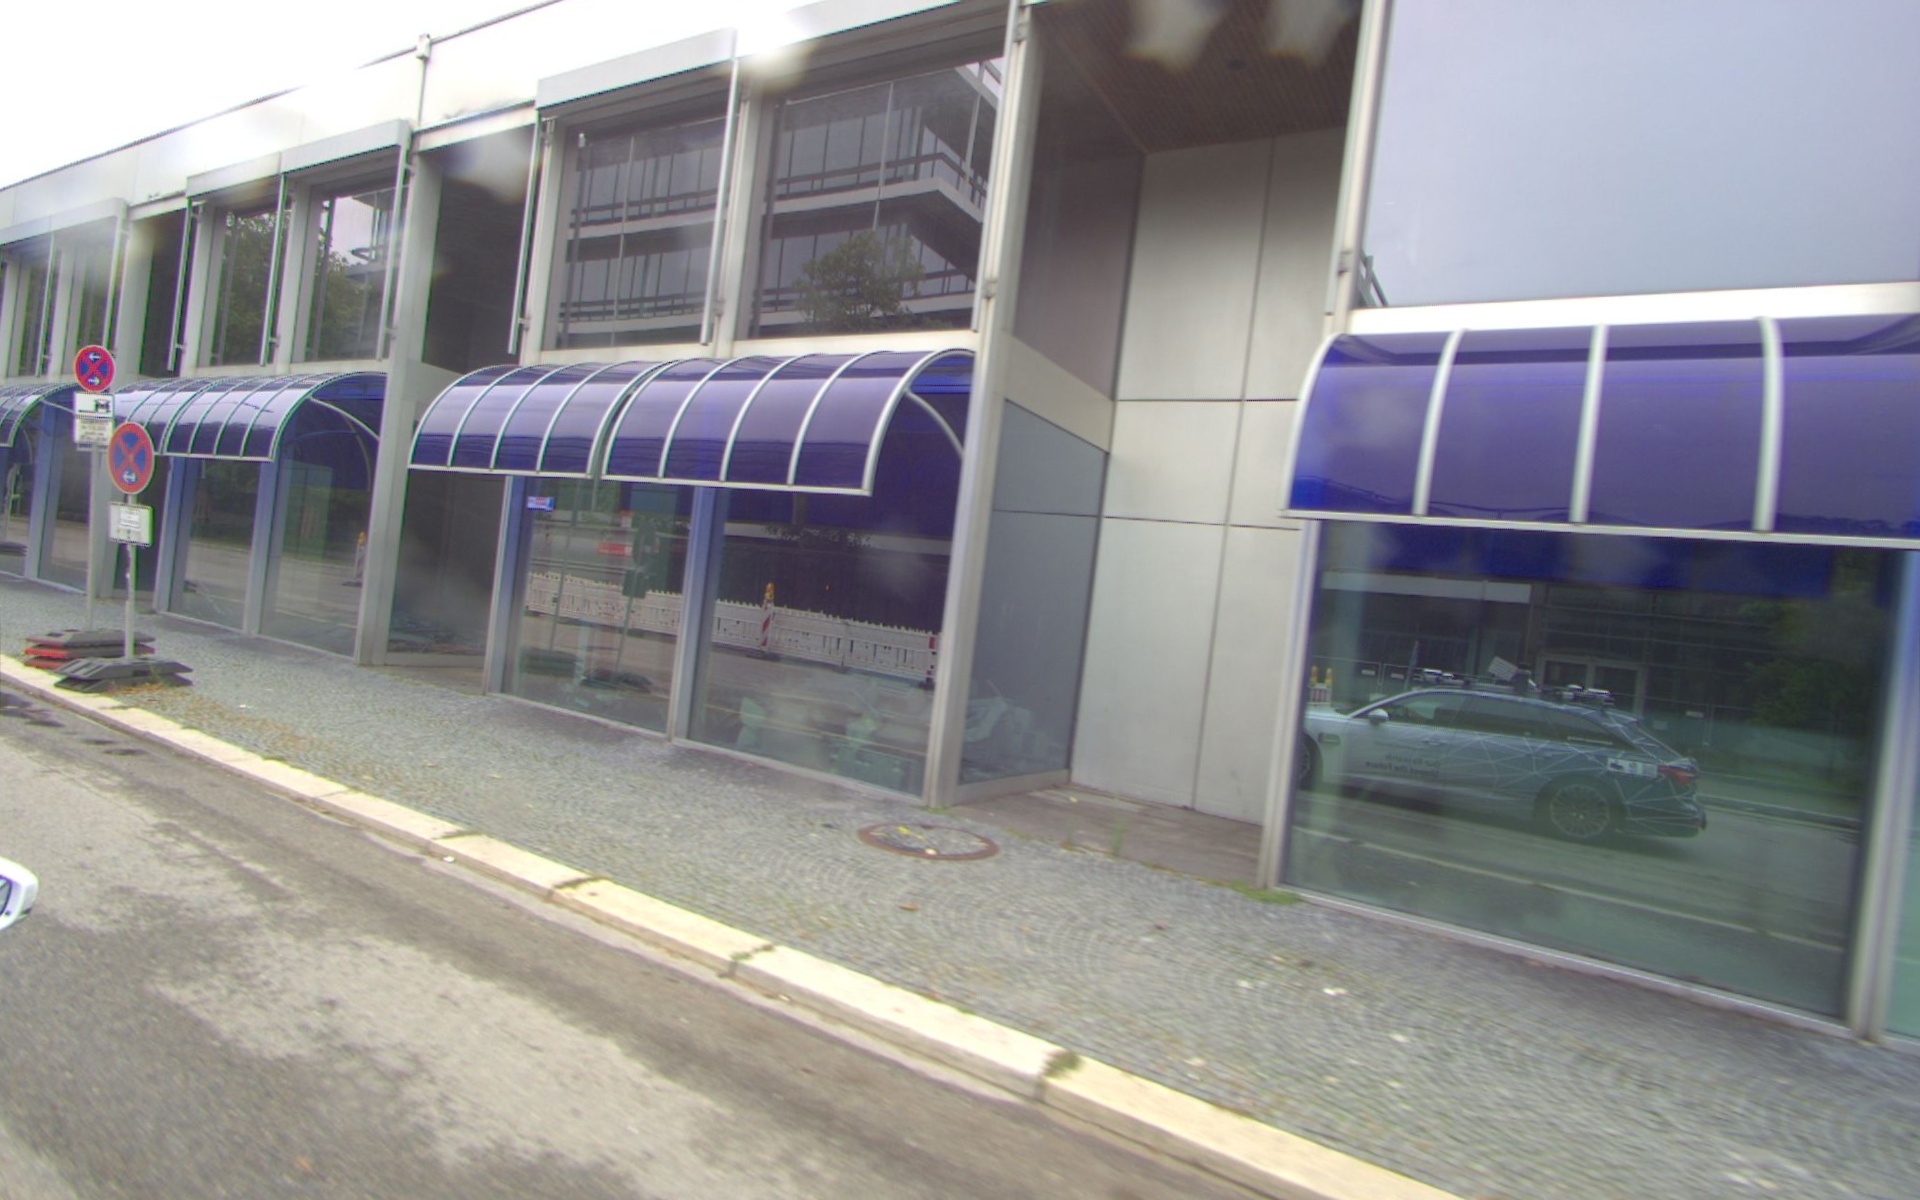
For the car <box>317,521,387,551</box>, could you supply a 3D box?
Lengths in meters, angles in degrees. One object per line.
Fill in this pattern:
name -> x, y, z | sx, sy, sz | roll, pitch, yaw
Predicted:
car -> -45.736, -4.783, 75.770 | 1.967, 1.593, 3.991 | 7, 0, 33
